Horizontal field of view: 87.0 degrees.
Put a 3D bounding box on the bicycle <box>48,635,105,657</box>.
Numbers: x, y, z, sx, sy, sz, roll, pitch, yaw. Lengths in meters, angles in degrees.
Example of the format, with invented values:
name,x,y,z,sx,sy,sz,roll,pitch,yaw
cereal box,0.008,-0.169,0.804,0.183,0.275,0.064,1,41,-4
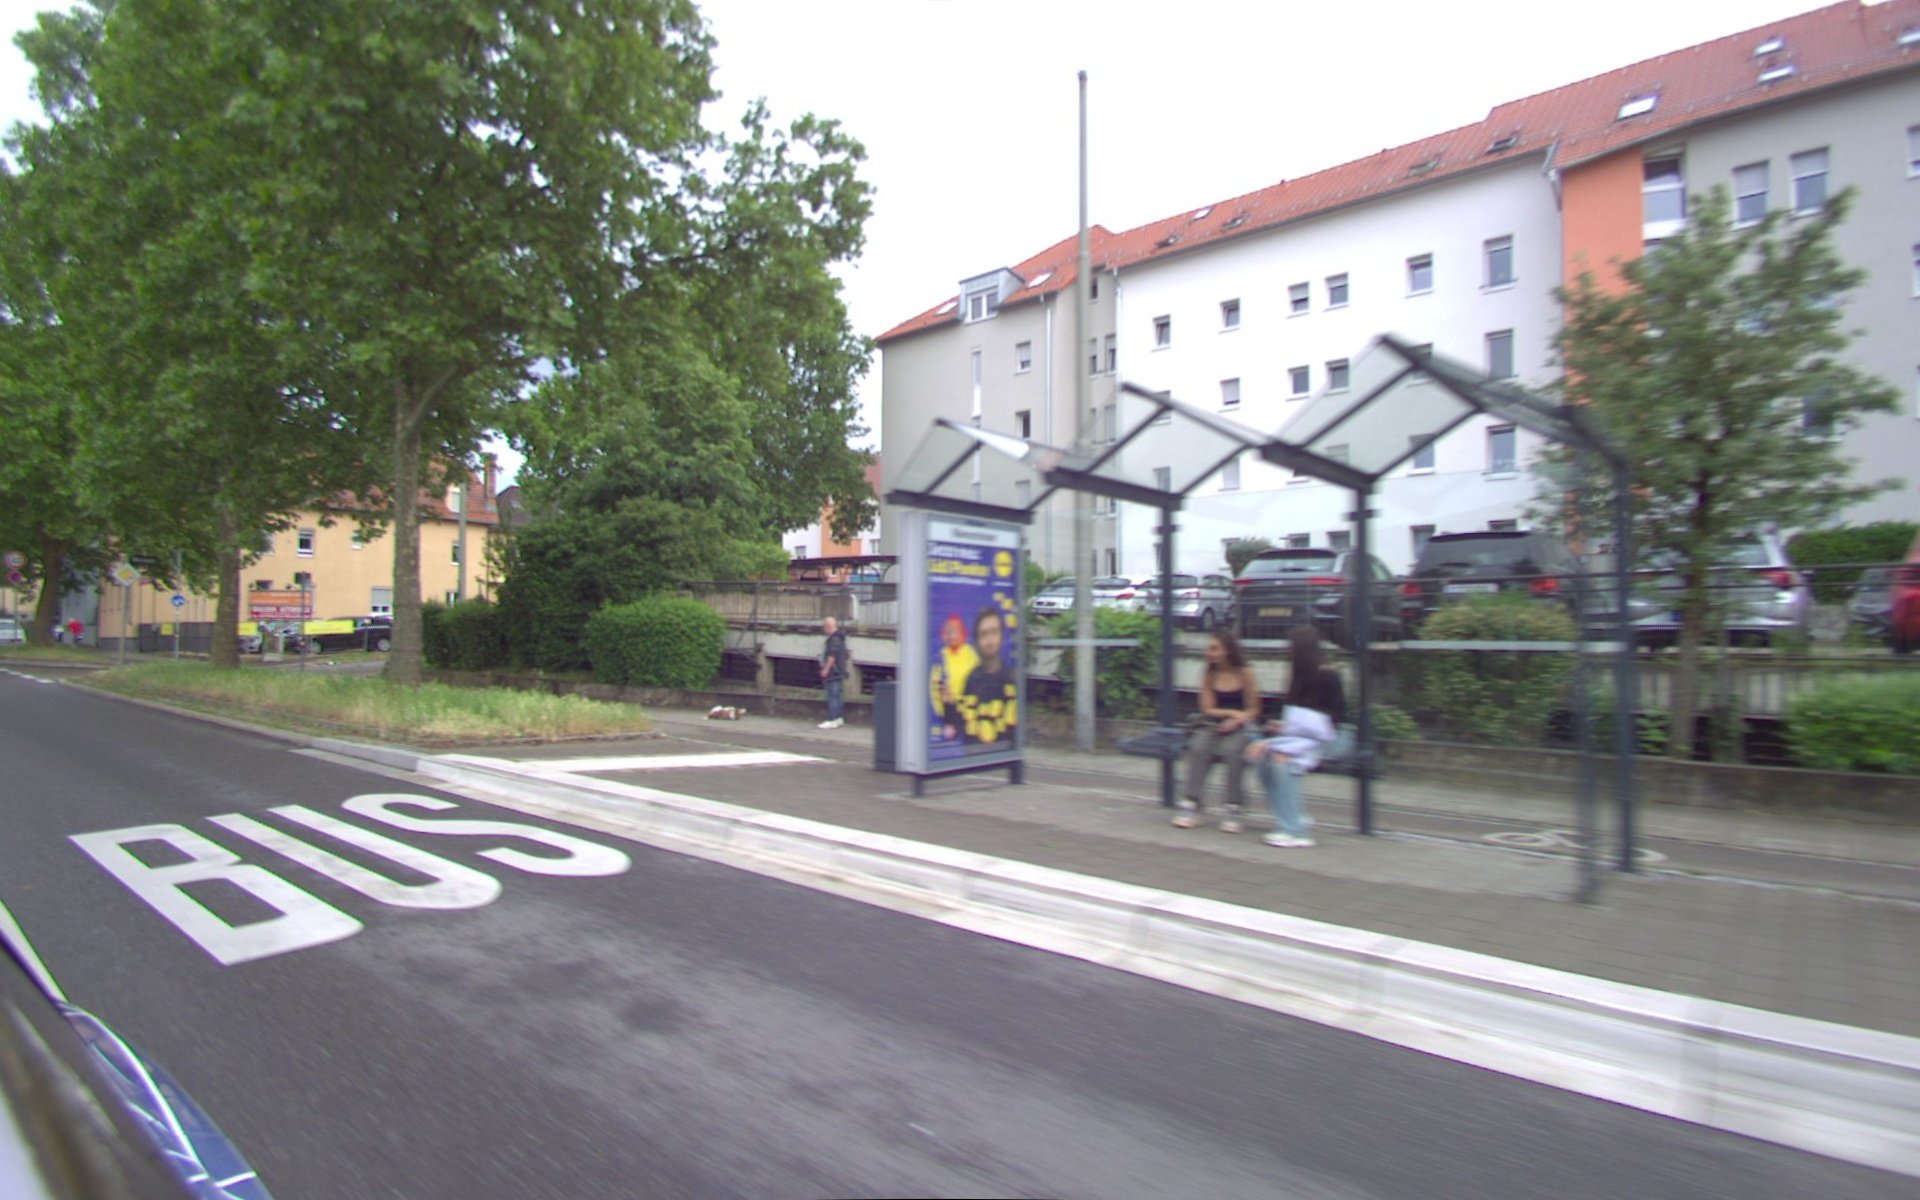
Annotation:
name,x,y,z,sx,sy,sz,roll,pitch,yaw
bicycle,-42.348,2.216,48.512,2.233,1.003,0.556,0,0,-1

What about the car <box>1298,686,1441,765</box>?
name,x,y,z,sx,sy,sz,roll,pitch,yaw
car,10.315,3.067,25.382,2.065,1.407,3.943,0,0,43

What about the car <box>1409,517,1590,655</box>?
name,x,y,z,sx,sy,sz,roll,pitch,yaw
car,7.028,-0.168,13.076,1.436,1.554,3.098,0,0,41

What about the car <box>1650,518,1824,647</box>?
name,x,y,z,sx,sy,sz,roll,pitch,yaw
car,9.037,-0.189,11.699,1.436,1.279,3.098,0,1,41

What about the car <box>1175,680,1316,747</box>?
name,x,y,z,sx,sy,sz,roll,pitch,yaw
car,7.707,2.975,27.144,2.065,1.407,3.943,-2,-2,43

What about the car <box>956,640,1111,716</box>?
name,x,y,z,sx,sy,sz,roll,pitch,yaw
car,1.719,1.685,22.735,1.612,1.486,3.669,-2,-2,41

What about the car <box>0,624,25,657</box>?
name,x,y,z,sx,sy,sz,roll,pitch,yaw
car,-46.502,1.942,48.648,4.348,1.563,1.767,-1,-2,40

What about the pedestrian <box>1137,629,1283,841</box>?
name,x,y,z,sx,sy,sz,roll,pitch,yaw
pedestrian,1.728,0.889,6.965,0.641,1.327,0.766,0,-3,44

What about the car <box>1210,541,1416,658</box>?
name,x,y,z,sx,sy,sz,roll,pitch,yaw
car,5.360,-0.019,15.116,1.894,1.509,3.619,0,1,37

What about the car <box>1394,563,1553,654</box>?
name,x,y,z,sx,sy,sz,roll,pitch,yaw
car,8.472,0.107,16.566,1.556,1.312,3.603,0,1,40

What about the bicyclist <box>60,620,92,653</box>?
name,x,y,z,sx,sy,sz,roll,pitch,yaw
bicyclist,-42.357,1.734,48.490,0.805,1.564,0.835,0,0,-1

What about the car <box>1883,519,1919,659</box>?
name,x,y,z,sx,sy,sz,roll,pitch,yaw
car,10.882,-0.108,10.475,1.809,1.312,4.046,0,1,40

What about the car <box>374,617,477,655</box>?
name,x,y,z,sx,sy,sz,roll,pitch,yaw
car,-25.609,1.695,48.565,1.998,1.665,3.947,0,0,39

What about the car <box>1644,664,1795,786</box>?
name,x,y,z,sx,sy,sz,roll,pitch,yaw
car,15.472,2.401,20.540,2.000,2.029,3.943,-2,-2,43

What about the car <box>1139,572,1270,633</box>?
name,x,y,z,sx,sy,sz,roll,pitch,yaw
car,6.572,0.046,26.973,1.685,1.518,3.943,0,1,43

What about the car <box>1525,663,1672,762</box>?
name,x,y,z,sx,sy,sz,roll,pitch,yaw
car,13.944,2.344,22.031,2.000,1.763,3.848,-2,-2,43

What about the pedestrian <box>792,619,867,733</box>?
name,x,y,z,sx,sy,sz,roll,pitch,yaw
pedestrian,-1.967,1.112,15.271,0.833,1.623,0.748,0,0,37

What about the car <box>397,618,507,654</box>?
name,x,y,z,sx,sy,sz,roll,pitch,yaw
car,-23.568,1.646,47.031,1.998,1.508,4.126,0,0,39

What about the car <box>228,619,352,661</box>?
name,x,y,z,sx,sy,sz,roll,pitch,yaw
car,-29.456,1.717,44.568,1.980,1.550,4.166,0,1,39

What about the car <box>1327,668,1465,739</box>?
name,x,y,z,sx,sy,sz,roll,pitch,yaw
car,10.792,2.469,24.931,1.887,1.407,3.943,-2,-2,43

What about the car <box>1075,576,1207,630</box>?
name,x,y,z,sx,sy,sz,roll,pitch,yaw
car,5.160,0.065,28.601,1.849,1.425,3.943,0,1,43

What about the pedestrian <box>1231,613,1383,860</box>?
name,x,y,z,sx,sy,sz,roll,pitch,yaw
pedestrian,2.196,0.823,6.400,0.641,1.429,0.680,0,-4,44

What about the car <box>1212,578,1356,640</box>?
name,x,y,z,sx,sy,sz,roll,pitch,yaw
car,8.028,0.194,24.918,1.905,1.407,3.943,0,0,43
